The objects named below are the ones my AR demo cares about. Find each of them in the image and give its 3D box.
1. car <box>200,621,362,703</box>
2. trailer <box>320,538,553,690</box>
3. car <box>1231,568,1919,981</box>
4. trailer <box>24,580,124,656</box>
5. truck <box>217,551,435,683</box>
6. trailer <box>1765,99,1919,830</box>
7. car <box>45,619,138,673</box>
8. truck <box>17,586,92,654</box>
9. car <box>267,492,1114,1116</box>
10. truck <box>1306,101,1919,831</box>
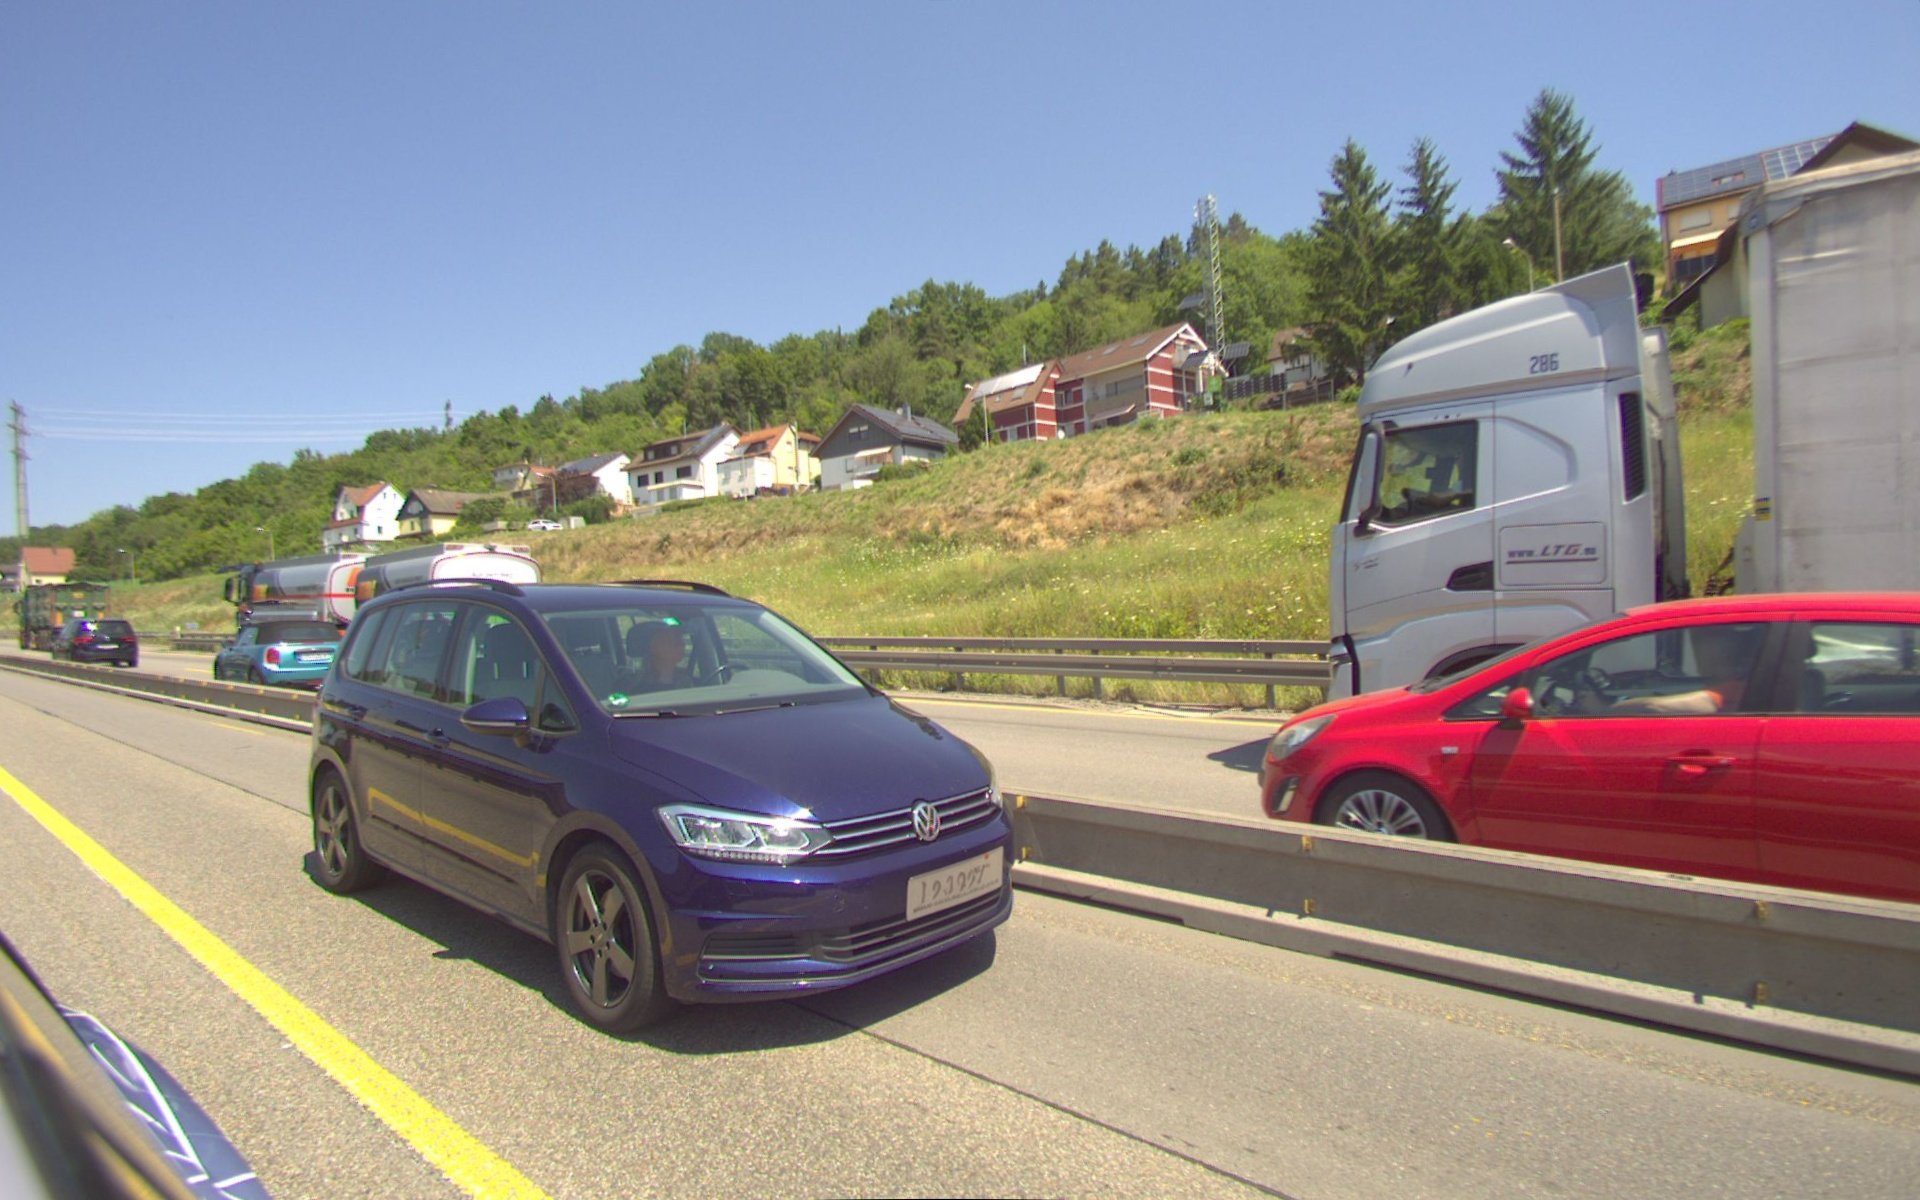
[{"bbox_3d":[-13.214,1.137,19.622,3.902,1.405,1.648,-2,-1,41],"label":"car"},{"bbox_3d":[-12.141,0.328,23.221,6.367,3.023,2.585,-2,-1,41],"label":"trailer"},{"bbox_3d":[3.488,0.632,4.666,3.998,1.477,1.652,-2,-1,41],"label":"car"},{"bbox_3d":[-50.351,1.065,57.369,10.521,3.968,2.882,-2,-1,41],"label":"trailer"},{"bbox_3d":[-17.915,0.482,28.277,8.955,3.166,2.698,-2,-1,41],"label":"truck"},{"bbox_3d":[11.186,-0.916,2.710,13.971,4.213,2.757,-2,-1,41],"label":"trailer"},{"bbox_3d":[-28.607,1.477,33.294,4.497,1.647,1.700,-2,-1,41],"label":"car"},{"bbox_3d":[-54.888,1.198,61.314,4.176,3.968,2.865,-2,-1,41],"label":"truck"},{"bbox_3d":[-1.708,0.627,5.022,4.650,1.731,1.757,-2,-1,41],"label":"car"},{"bbox_3d":[5.714,-0.761,7.494,5.285,4.213,2.717,-2,-1,41],"label":"truck"}]
